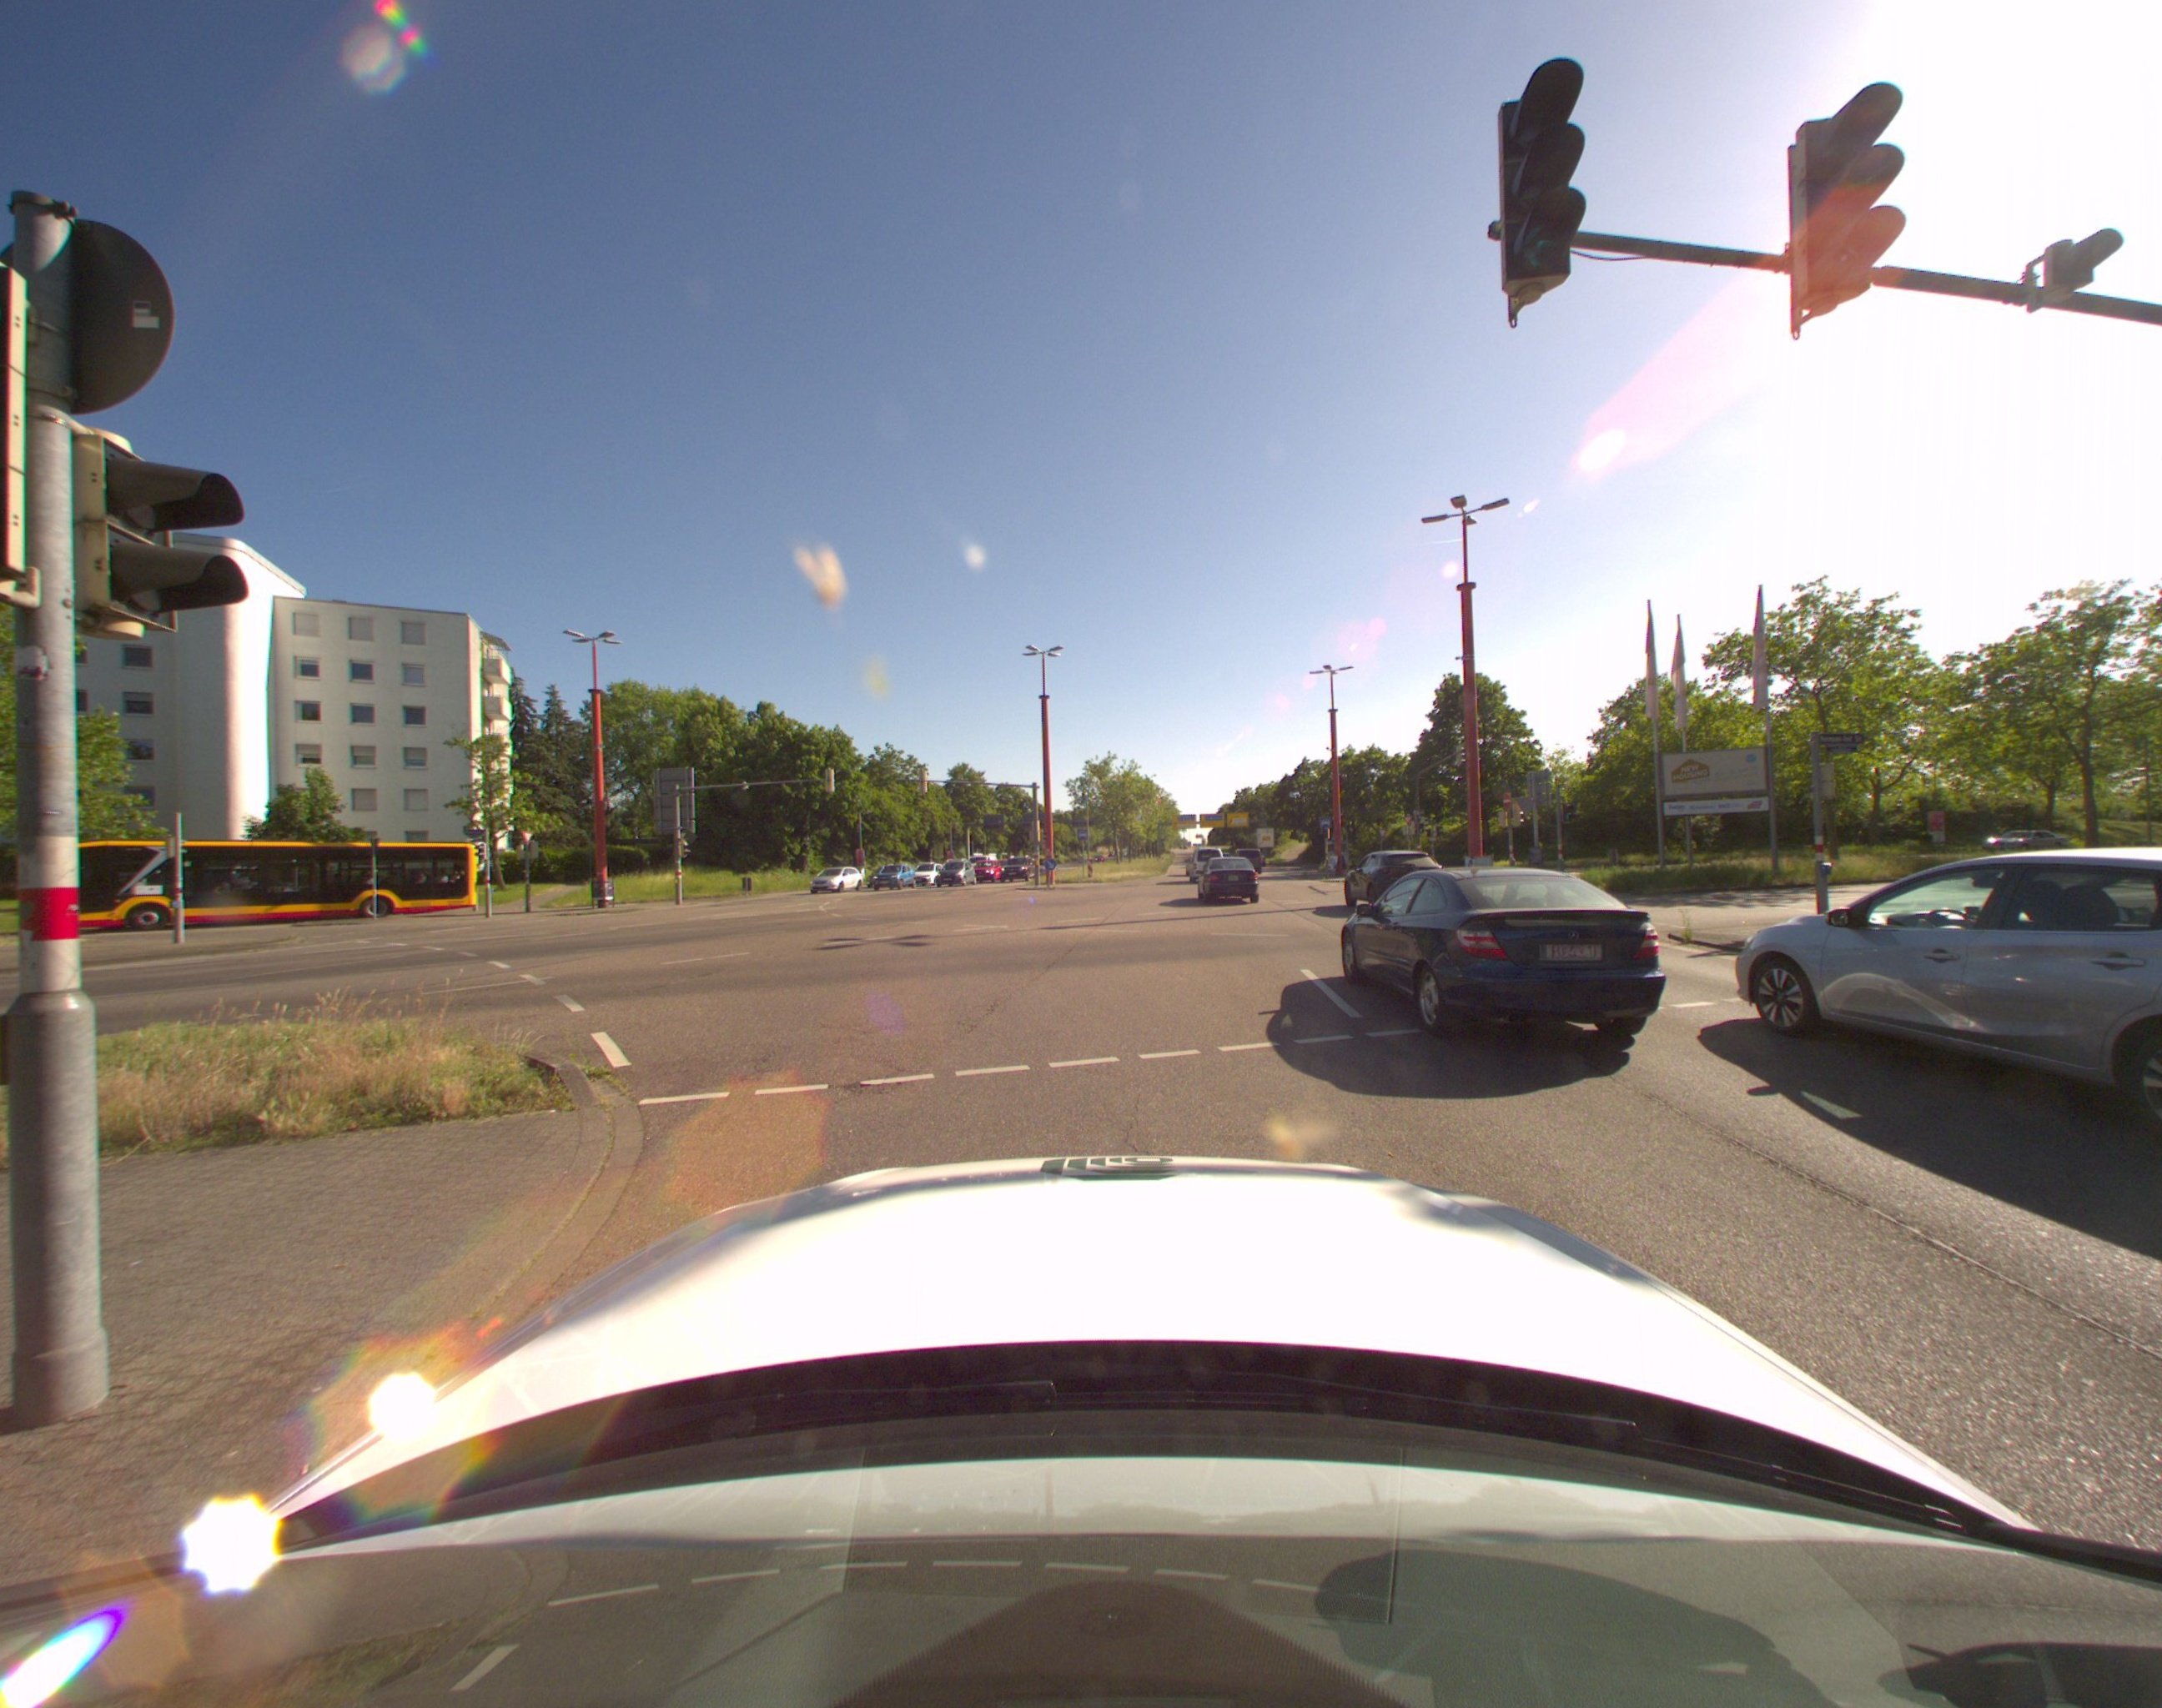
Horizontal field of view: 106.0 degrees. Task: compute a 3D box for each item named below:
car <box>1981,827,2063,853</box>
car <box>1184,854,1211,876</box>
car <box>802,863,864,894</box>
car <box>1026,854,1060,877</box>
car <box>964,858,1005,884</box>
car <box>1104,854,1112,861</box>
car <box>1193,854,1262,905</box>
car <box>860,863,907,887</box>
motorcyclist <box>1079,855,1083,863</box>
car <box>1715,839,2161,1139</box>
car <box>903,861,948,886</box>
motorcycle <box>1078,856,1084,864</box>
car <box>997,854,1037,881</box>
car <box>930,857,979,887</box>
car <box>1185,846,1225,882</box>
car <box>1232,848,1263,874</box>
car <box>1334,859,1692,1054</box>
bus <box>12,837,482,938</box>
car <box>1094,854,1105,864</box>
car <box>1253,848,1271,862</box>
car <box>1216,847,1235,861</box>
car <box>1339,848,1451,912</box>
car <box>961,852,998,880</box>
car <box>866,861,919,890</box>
[{"bbox_3d":[59.150,-0.863,51.189,4.133,1.517,1.856,0,-1,-17],"label":"car"},{"bbox_3d":[8.236,0.781,57.911,1.795,1.493,4.690,0,-1,6],"label":"car"},{"bbox_3d":[-14.500,1.389,47.828,1.867,1.652,4.226,-3,-1,7],"label":"car"},{"bbox_3d":[-2.751,0.849,59.854,1.876,1.543,4.006,-3,0,5],"label":"car"},{"bbox_3d":[-6.459,1.104,54.935,1.867,1.552,4.005,-5,-1,4],"label":"car"},{"bbox_3d":[7.725,0.928,229.435,1.906,1.846,3.967,-2,0,6],"label":"car"},{"bbox_3d":[4.673,0.764,26.484,1.705,1.454,4.202,-2,0,4],"label":"car"},{"bbox_3d":[-13.801,1.472,57.234,1.875,1.513,4.007,-3,0,6],"label":"car"},{"bbox_3d":[0.005,0.987,160.852,0.769,1.738,0.917,0,-1,6],"label":"motorcyclist"},{"bbox_3d":[6.441,0.675,5.305,1.713,1.517,4.144,0,0,6],"label":"car"},{"bbox_3d":[-10.235,1.261,53.916,1.893,1.555,4.004,-3,-1,4],"label":"car"},{"bbox_3d":[-0.007,1.251,160.830,0.755,1.609,2.873,0,-1,7],"label":"motorcycle"},{"bbox_3d":[-4.077,0.840,52.451,1.785,1.626,4.149,-3,0,5],"label":"car"},{"bbox_3d":[-7.492,1.055,48.655,1.865,1.550,4.033,-3,0,5],"label":"car"},{"bbox_3d":[6.714,0.523,44.363,1.796,1.821,4.592,-1,-1,5],"label":"car"},{"bbox_3d":[12.559,0.525,61.849,1.795,1.852,5.112,-2,0,6],"label":"car"},{"bbox_3d":[3.822,0.782,8.079,1.710,1.420,4.056,-1,0,6],"label":"car"},{"bbox_3d":[-31.647,1.116,32.138,2.620,3.261,12.613,-1,-1,40],"label":"bus"},{"bbox_3d":[3.457,0.945,152.013,1.909,1.846,3.961,-2,0,1],"label":"car"},{"bbox_3d":[20.382,0.099,91.678,1.587,1.491,3.687,0,-1,6],"label":"car"},{"bbox_3d":[15.994,0.018,90.261,1.707,1.608,3.853,0,-1,6],"label":"car"},{"bbox_3d":[8.146,0.634,21.519,1.759,1.508,4.233,0,-1,6],"label":"car"},{"bbox_3d":[-8.319,0.980,67.374,1.952,2.155,5.089,-2,0,5],"label":"car"},{"bbox_3d":[-10.991,1.256,47.799,1.792,1.515,3.865,-3,0,6],"label":"car"}]
